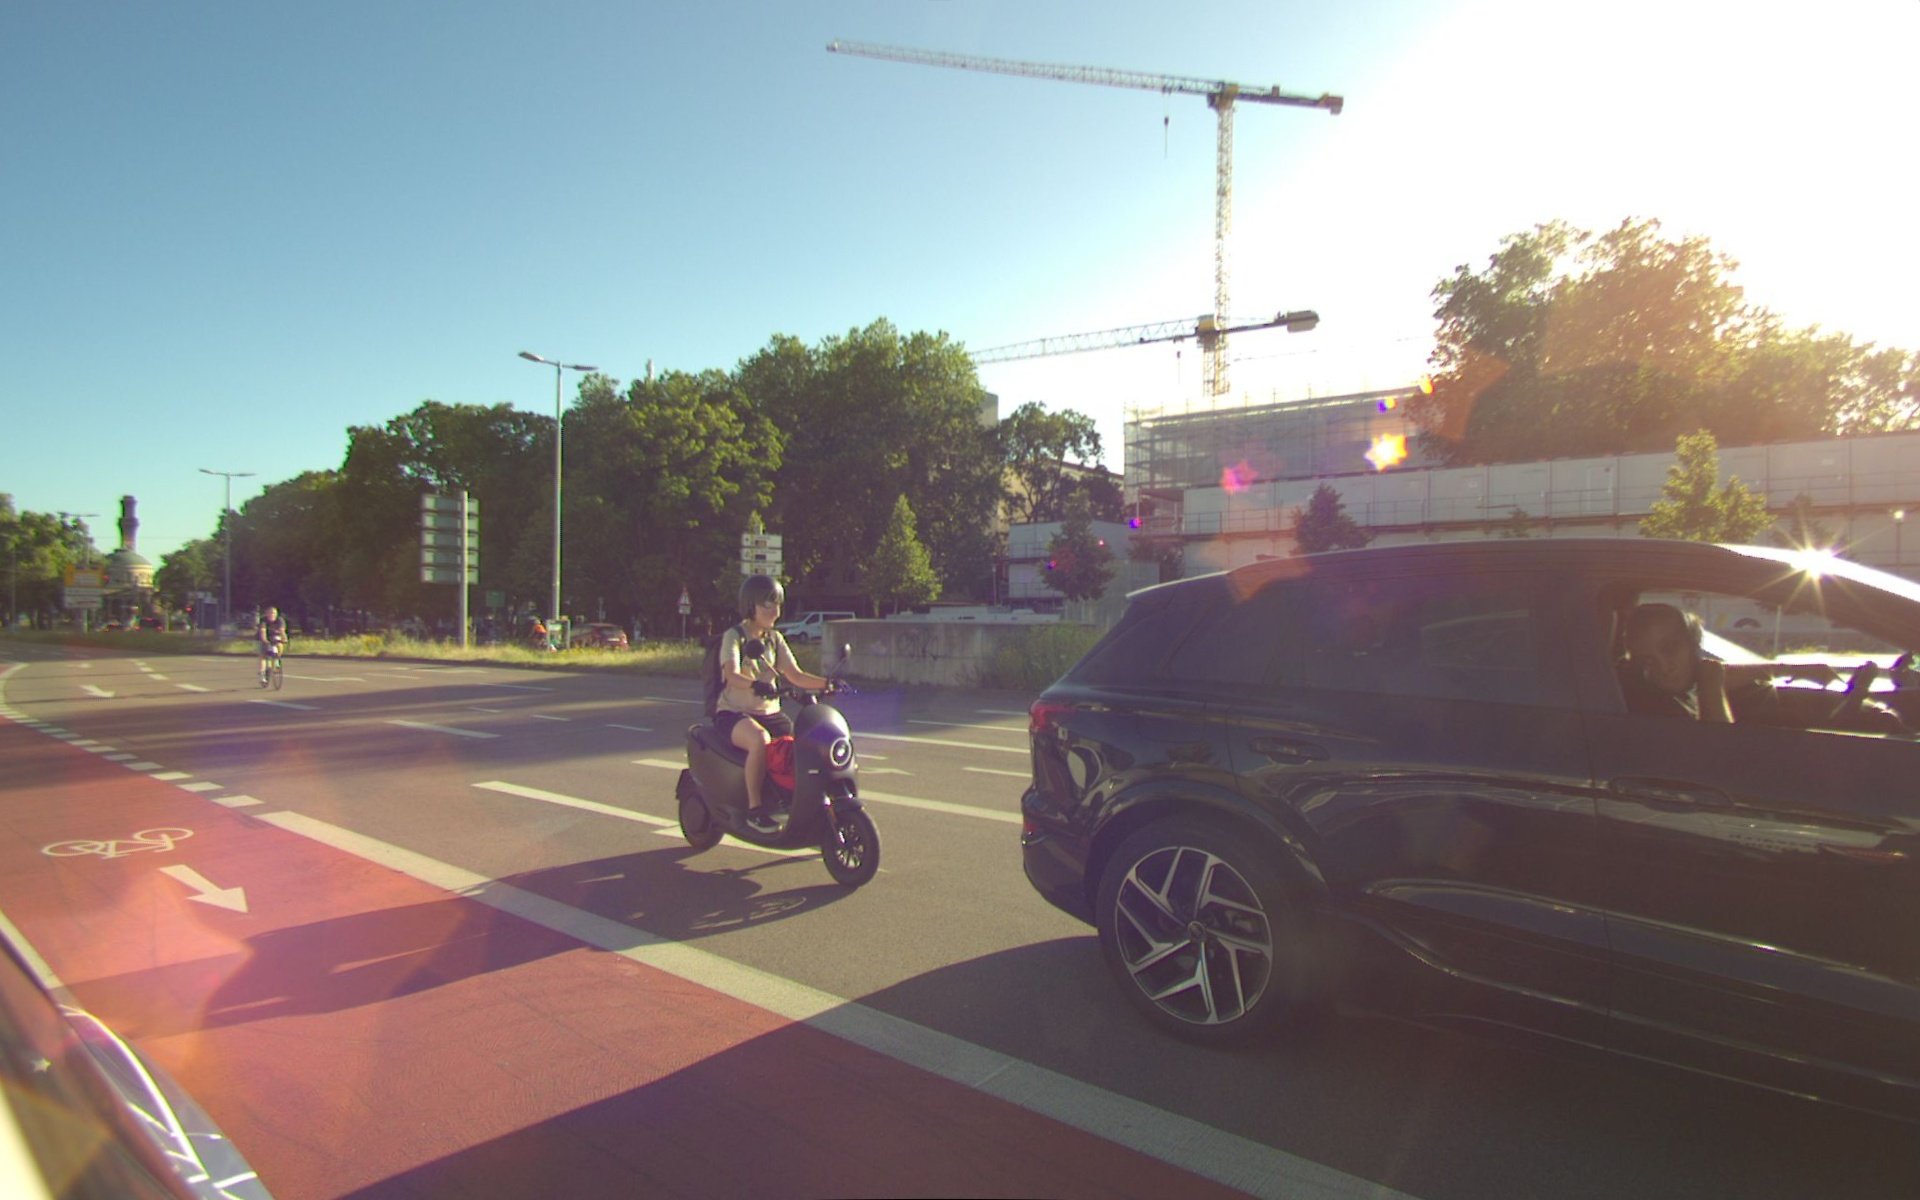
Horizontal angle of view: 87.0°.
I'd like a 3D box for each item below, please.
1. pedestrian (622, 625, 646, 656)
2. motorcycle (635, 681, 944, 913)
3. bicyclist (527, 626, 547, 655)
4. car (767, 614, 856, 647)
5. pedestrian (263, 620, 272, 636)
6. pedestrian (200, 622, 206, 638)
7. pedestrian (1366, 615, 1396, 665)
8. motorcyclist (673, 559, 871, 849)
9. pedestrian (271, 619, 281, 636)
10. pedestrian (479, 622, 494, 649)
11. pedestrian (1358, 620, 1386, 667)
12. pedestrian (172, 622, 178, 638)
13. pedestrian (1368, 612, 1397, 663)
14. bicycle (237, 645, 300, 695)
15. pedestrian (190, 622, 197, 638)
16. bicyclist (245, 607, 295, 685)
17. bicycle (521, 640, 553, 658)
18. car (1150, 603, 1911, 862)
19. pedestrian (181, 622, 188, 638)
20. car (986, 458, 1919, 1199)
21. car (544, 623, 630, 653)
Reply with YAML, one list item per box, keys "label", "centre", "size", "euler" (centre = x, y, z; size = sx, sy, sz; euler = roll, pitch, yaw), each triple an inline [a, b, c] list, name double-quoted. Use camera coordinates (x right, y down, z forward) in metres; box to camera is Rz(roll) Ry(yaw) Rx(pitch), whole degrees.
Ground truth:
- label: "pedestrian"
  centre: [-18.891, 2.338, 58.679]
  size: [0.964, 1.796, 0.984]
  euler: [-1, 0, 41]
- label: "motorcycle"
  centre: [-1.037, 1.009, 5.755]
  size: [0.746, 0.976, 1.961]
  euler: [0, -1, -45]
- label: "bicyclist"
  centre: [-20.088, 1.912, 48.075]
  size: [0.768, 1.377, 0.609]
  euler: [-1, -2, 41]
- label: "car"
  centre: [-9.014, 1.853, 61.797]
  size: [2.000, 1.906, 5.256]
  euler: [-2, -3, 42]
- label: "pedestrian"
  centre: [-85.737, 3.435, 125.320]
  size: [0.691, 2.029, 0.691]
  euler: [-1, -2, 24]
- label: "pedestrian"
  centre: [-94.877, 3.724, 126.841]
  size: [0.594, 2.029, 0.519]
  euler: [-1, -2, 38]
- label: "pedestrian"
  centre: [13.715, 1.300, 32.966]
  size: [0.654, 1.601, 0.829]
  euler: [-1, -2, 41]
- label: "motorcyclist"
  centre: [-1.084, 0.543, 5.809]
  size: [0.746, 1.495, 0.882]
  euler: [0, -1, -45]
- label: "pedestrian"
  centre: [-85.358, 3.429, 126.269]
  size: [0.691, 2.029, 0.691]
  euler: [-1, -2, 24]
- label: "pedestrian"
  centre: [-31.837, 2.381, 68.056]
  size: [0.697, 1.740, 0.656]
  euler: [-1, -2, 41]
- label: "pedestrian"
  centre: [13.098, 1.374, 32.195]
  size: [0.654, 1.464, 0.596]
  euler: [-1, -2, 41]
- label: "pedestrian"
  centre: [-99.480, 3.810, 128.253]
  size: [0.594, 1.981, 0.519]
  euler: [-1, -2, 38]
- label: "pedestrian"
  centre: [14.111, 1.243, 33.804]
  size: [0.654, 1.693, 0.829]
  euler: [-1, -2, 41]
- label: "bicycle"
  centre: [-13.829, 1.371, 20.223]
  size: [1.910, 0.915, 0.616]
  euler: [-1, -1, 42]
- label: "pedestrian"
  centre: [-95.505, 3.733, 126.132]
  size: [0.594, 2.029, 0.519]
  euler: [-1, -2, 38]
- label: "bicyclist"
  centre: [-13.748, 0.906, 20.152]
  size: [0.937, 1.515, 0.616]
  euler: [-1, -1, 42]
- label: "bicycle"
  centre: [-20.091, 2.334, 48.067]
  size: [1.979, 0.810, 0.609]
  euler: [-1, -2, 41]
- label: "car"
  centre: [3.845, 0.731, 7.491]
  size: [4.523, 1.362, 1.753]
  euler: [-1, -1, 40]
- label: "pedestrian"
  centre: [-98.690, 3.775, 128.834]
  size: [0.594, 2.029, 0.519]
  euler: [-1, -2, 38]
- label: "car"
  centre: [2.627, 0.551, 3.100]
  size: [4.786, 1.675, 2.172]
  euler: [-1, -2, 39]
- label: "car"
  centre: [-15.171, 1.497, 41.061]
  size: [3.767, 1.141, 1.598]
  euler: [-1, -1, 40]
